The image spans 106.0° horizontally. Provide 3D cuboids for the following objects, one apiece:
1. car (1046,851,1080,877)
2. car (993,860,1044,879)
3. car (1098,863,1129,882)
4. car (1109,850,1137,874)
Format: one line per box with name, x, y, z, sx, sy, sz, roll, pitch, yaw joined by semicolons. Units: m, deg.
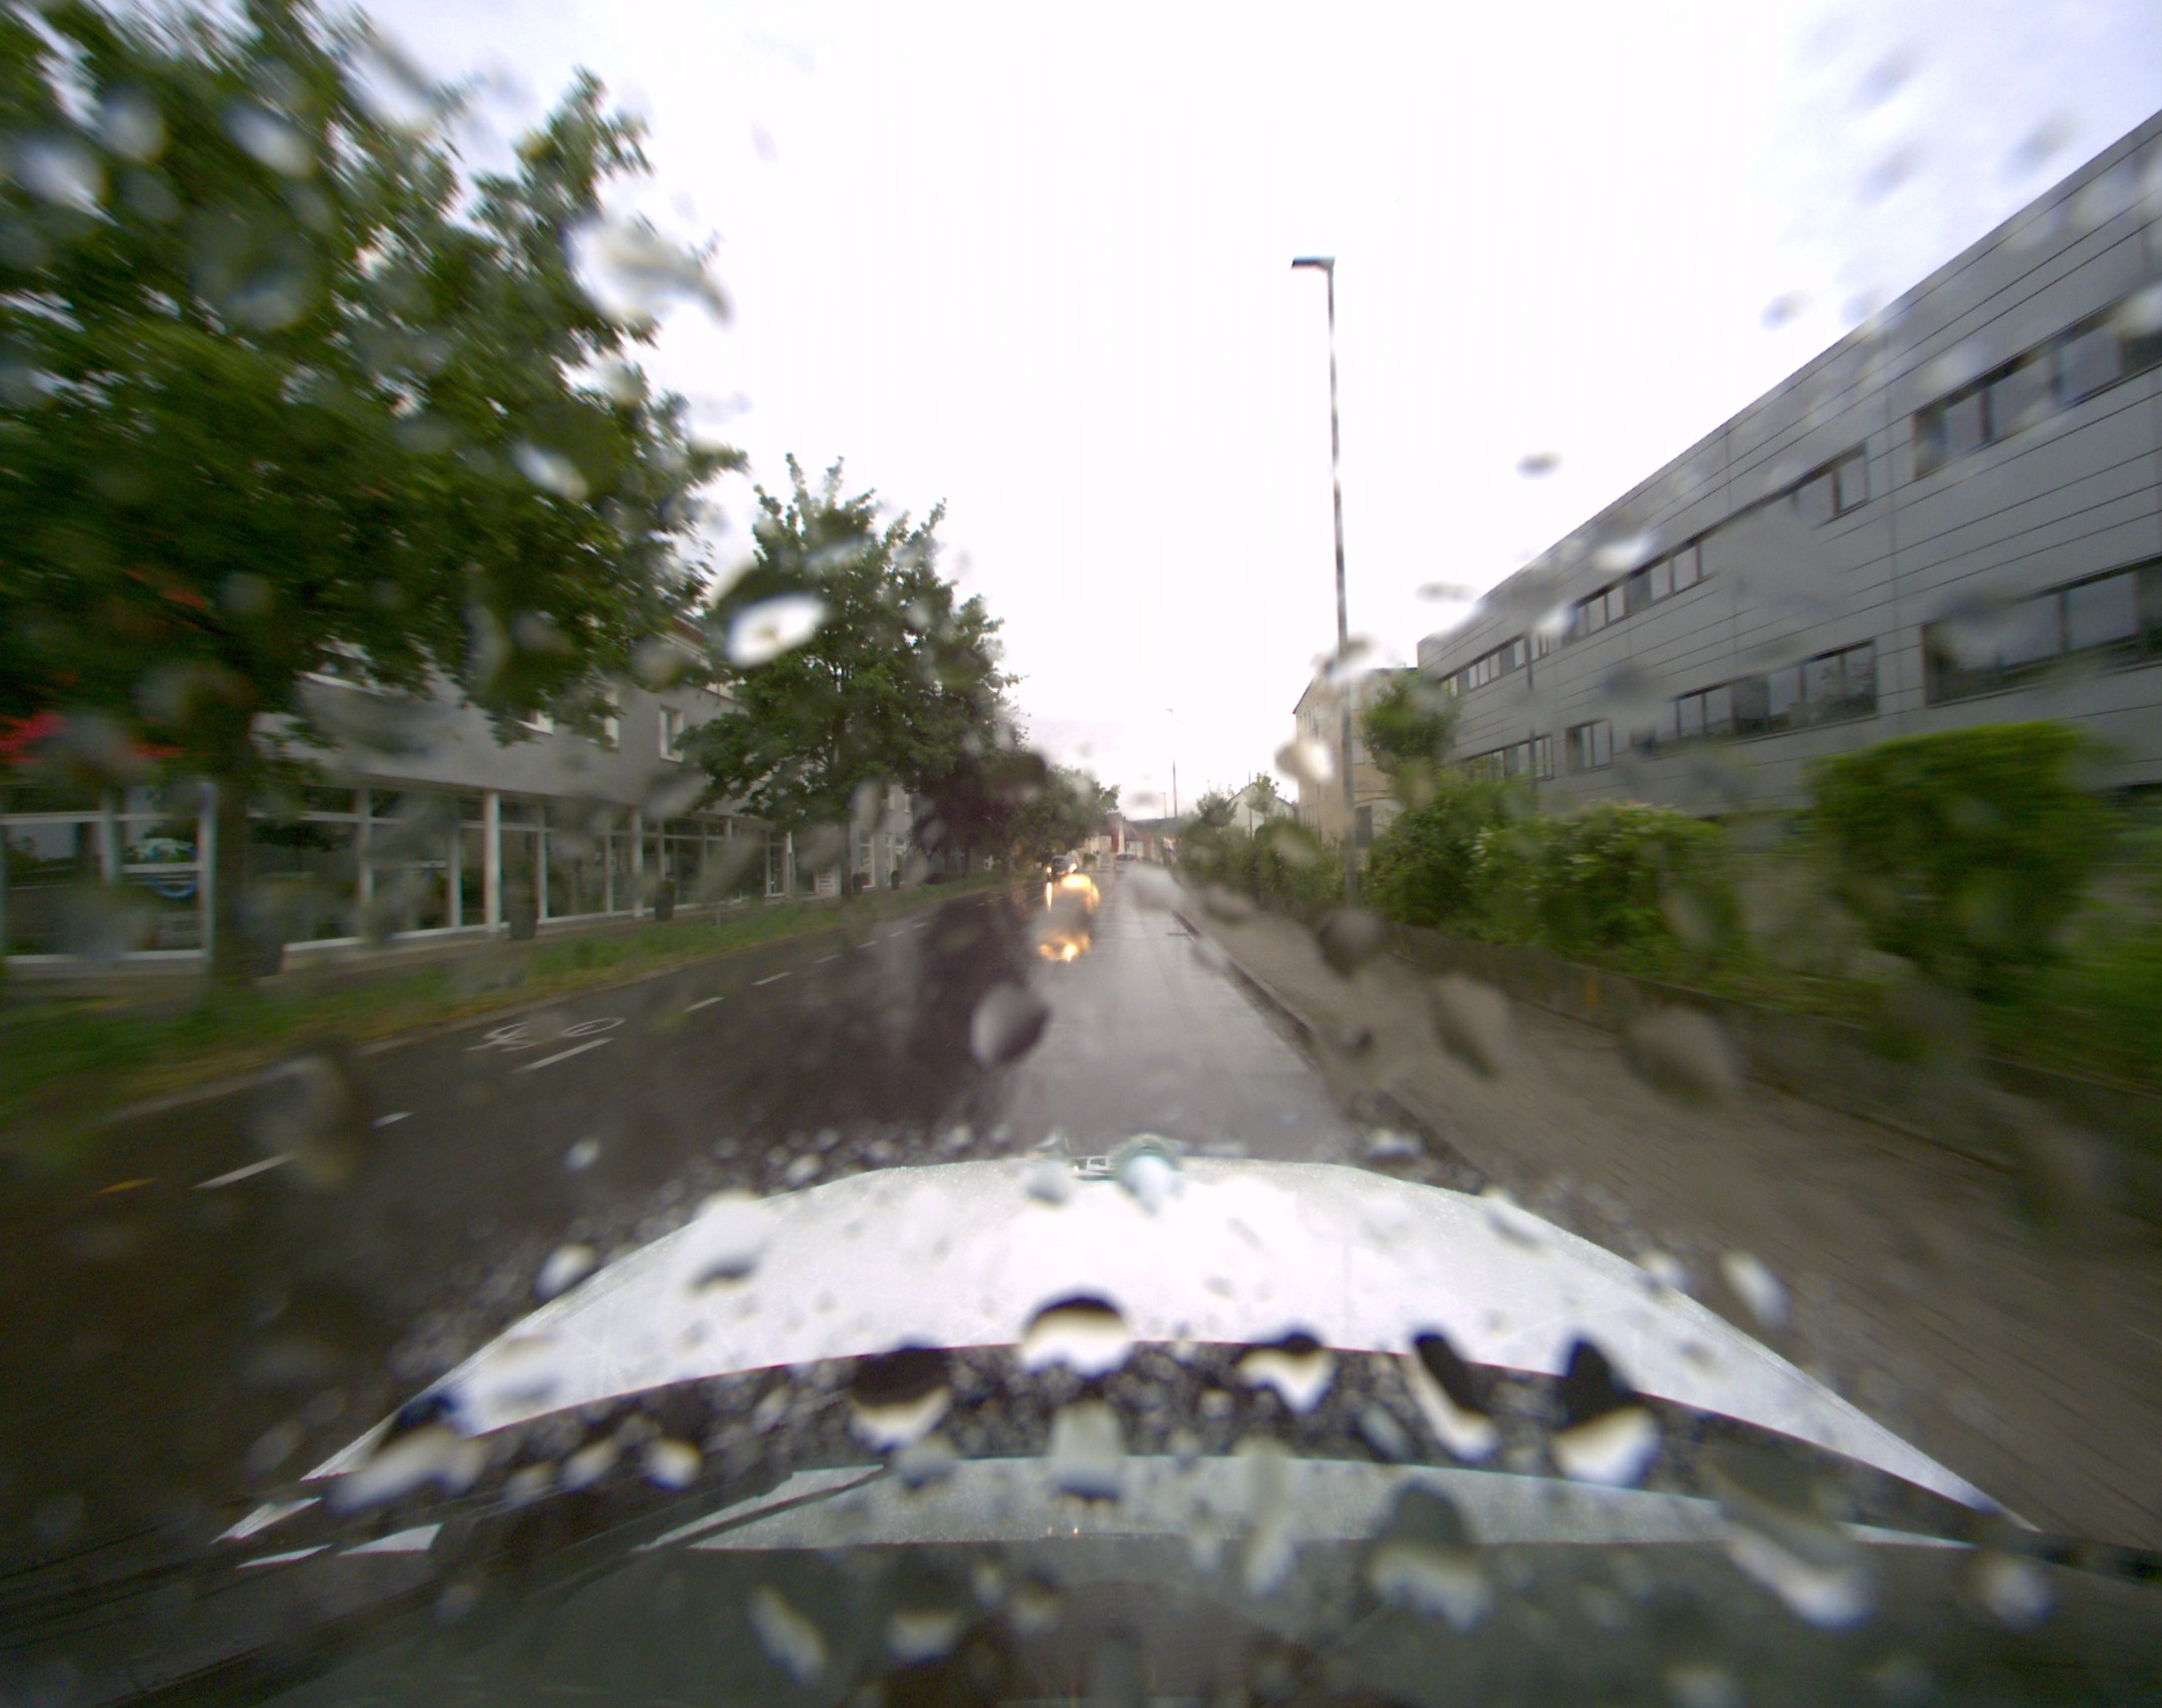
car;-1.130;0.593;52.851;1.843;1.554;4.506;-1;1;3
car;-5.145;1.301;67.028;3.883;1.284;1.583;-3;-2;4
car;5.336;2.943;133.082;4.528;2.012;2.166;-14;-2;10
car;3.377;0.610;66.259;2.109;1.888;4.503;-1;1;1
